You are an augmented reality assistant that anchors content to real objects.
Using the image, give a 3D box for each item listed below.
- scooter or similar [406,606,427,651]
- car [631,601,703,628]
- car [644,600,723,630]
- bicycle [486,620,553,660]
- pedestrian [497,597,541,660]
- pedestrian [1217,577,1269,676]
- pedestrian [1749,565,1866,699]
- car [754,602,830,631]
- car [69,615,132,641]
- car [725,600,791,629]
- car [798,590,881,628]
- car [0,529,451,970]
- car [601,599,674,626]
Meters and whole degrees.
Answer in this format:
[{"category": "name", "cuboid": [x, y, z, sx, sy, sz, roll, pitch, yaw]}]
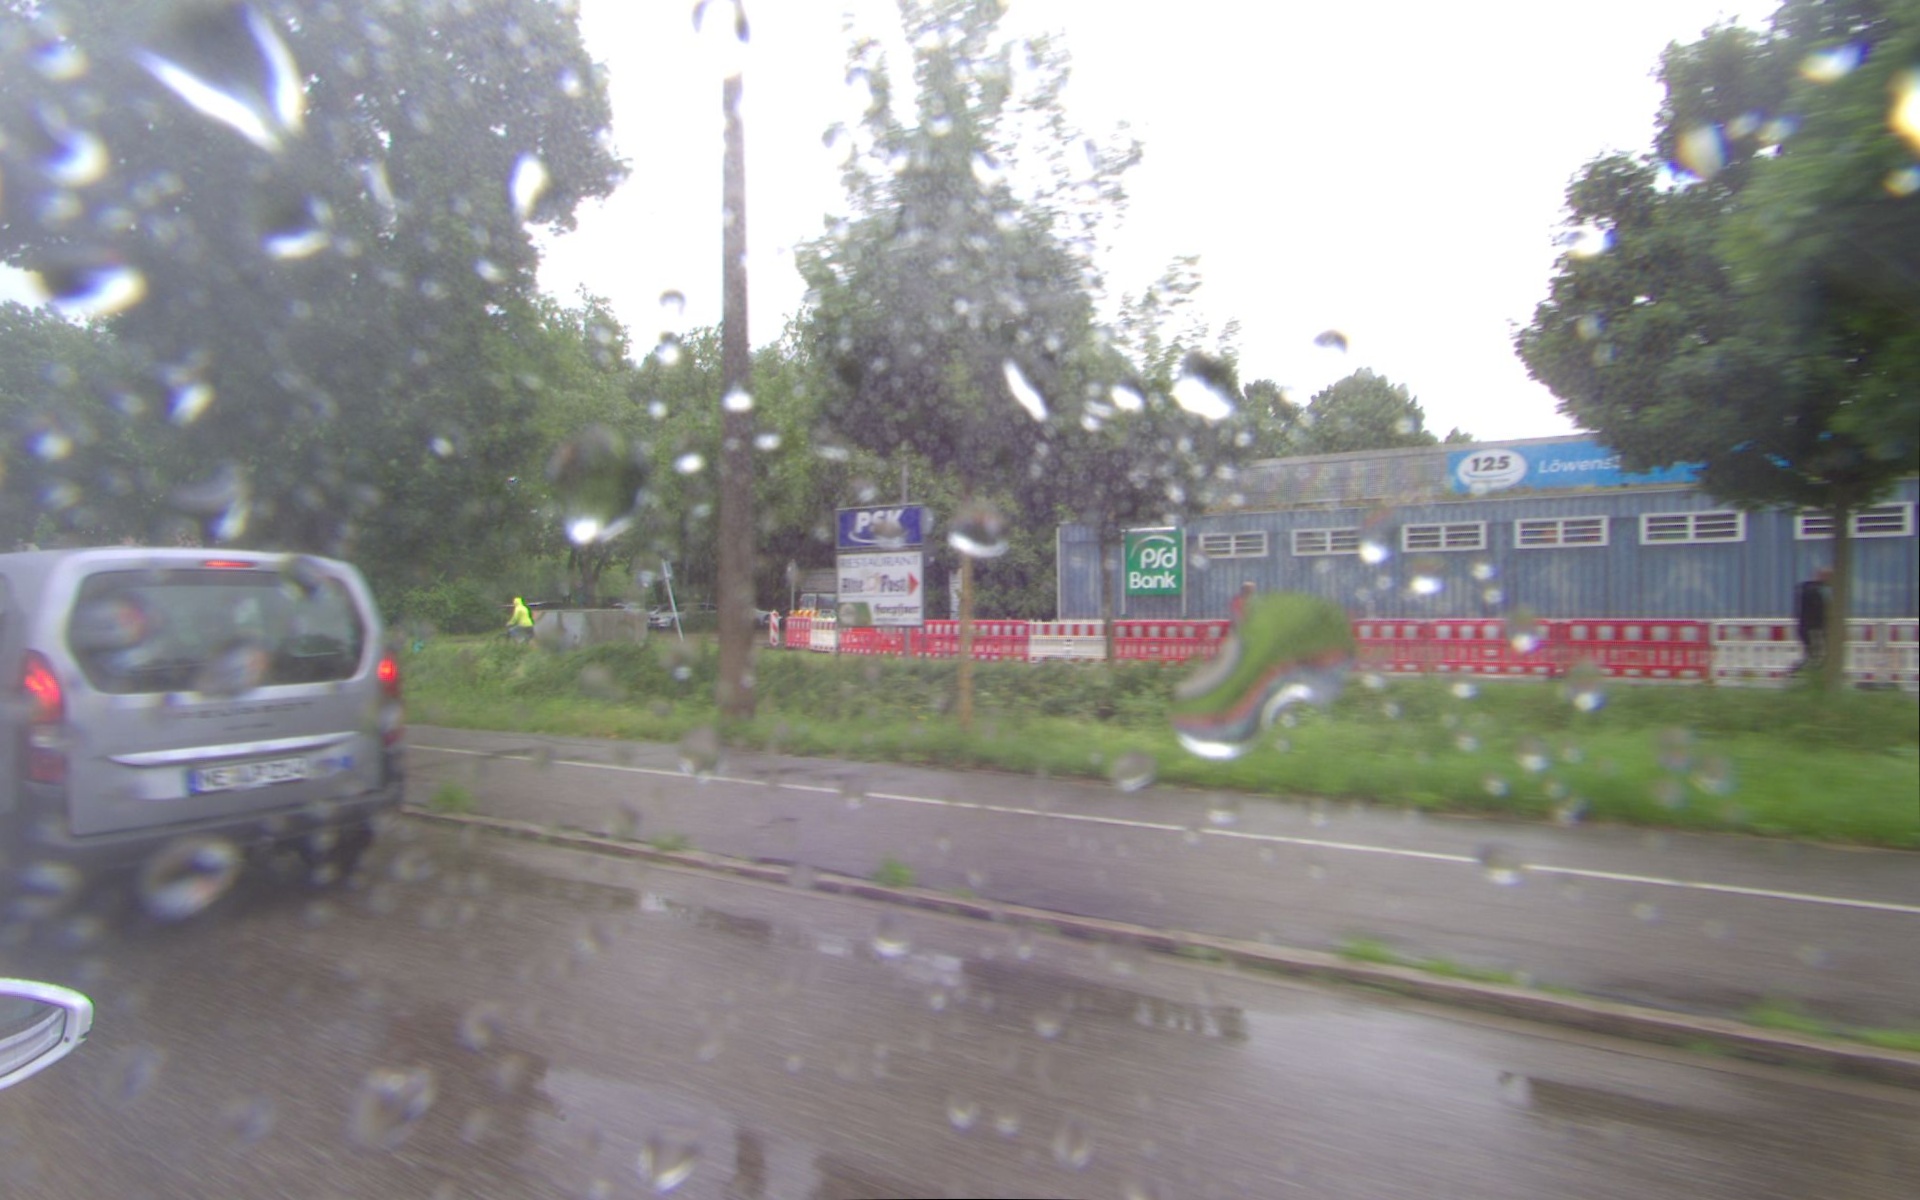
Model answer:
[{"category": "scooter or similar", "cuboid": [-14.597, 0.751, 26.907, 0.552, 1.192, 0.284, 0, 1, 38]}, {"category": "car", "cuboid": [-18.228, 0.934, 62.427, 1.893, 1.603, 4.591, -1, -2, 22]}, {"category": "car", "cuboid": [-16.542, 0.934, 60.151, 1.897, 1.651, 4.581, -1, -2, 30]}, {"category": "bicycle", "cuboid": [-12.373, 1.118, 28.147, 1.637, 1.053, 0.786, -1, 4, 25]}, {"category": "pedestrian", "cuboid": [-12.363, 0.795, 28.109, 0.658, 1.702, 0.786, -1, 4, 25]}, {"category": "pedestrian", "cuboid": [5.595, 0.528, 19.799, 0.863, 1.920, 0.578, -1, -1, 30]}, {"category": "pedestrian", "cuboid": [12.896, 0.487, 15.285, 1.194, 1.960, 0.812, -1, -1, 30]}, {"category": "car", "cuboid": [-9.364, 0.957, 55.993, 1.899, 1.508, 4.173, -1, -2, 33]}, {"category": "car", "cuboid": [-51.302, 1.695, 59.854, 1.642, 1.467, 3.744, 0, -2, -21]}, {"category": "car", "cuboid": [-11.642, 0.858, 57.777, 1.696, 1.617, 3.650, -1, -2, 33]}, {"category": "car", "cuboid": [-6.592, 0.539, 54.826, 4.147, 1.989, 1.911, 1, -2, -39]}, {"category": "car", "cuboid": [-5.355, 0.680, 6.153, 4.498, 1.819, 1.990, -1, -2, 33]}, {"category": "car", "cuboid": [-20.533, 0.838, 63.950, 1.893, 1.603, 4.591, -1, -2, 22]}]
